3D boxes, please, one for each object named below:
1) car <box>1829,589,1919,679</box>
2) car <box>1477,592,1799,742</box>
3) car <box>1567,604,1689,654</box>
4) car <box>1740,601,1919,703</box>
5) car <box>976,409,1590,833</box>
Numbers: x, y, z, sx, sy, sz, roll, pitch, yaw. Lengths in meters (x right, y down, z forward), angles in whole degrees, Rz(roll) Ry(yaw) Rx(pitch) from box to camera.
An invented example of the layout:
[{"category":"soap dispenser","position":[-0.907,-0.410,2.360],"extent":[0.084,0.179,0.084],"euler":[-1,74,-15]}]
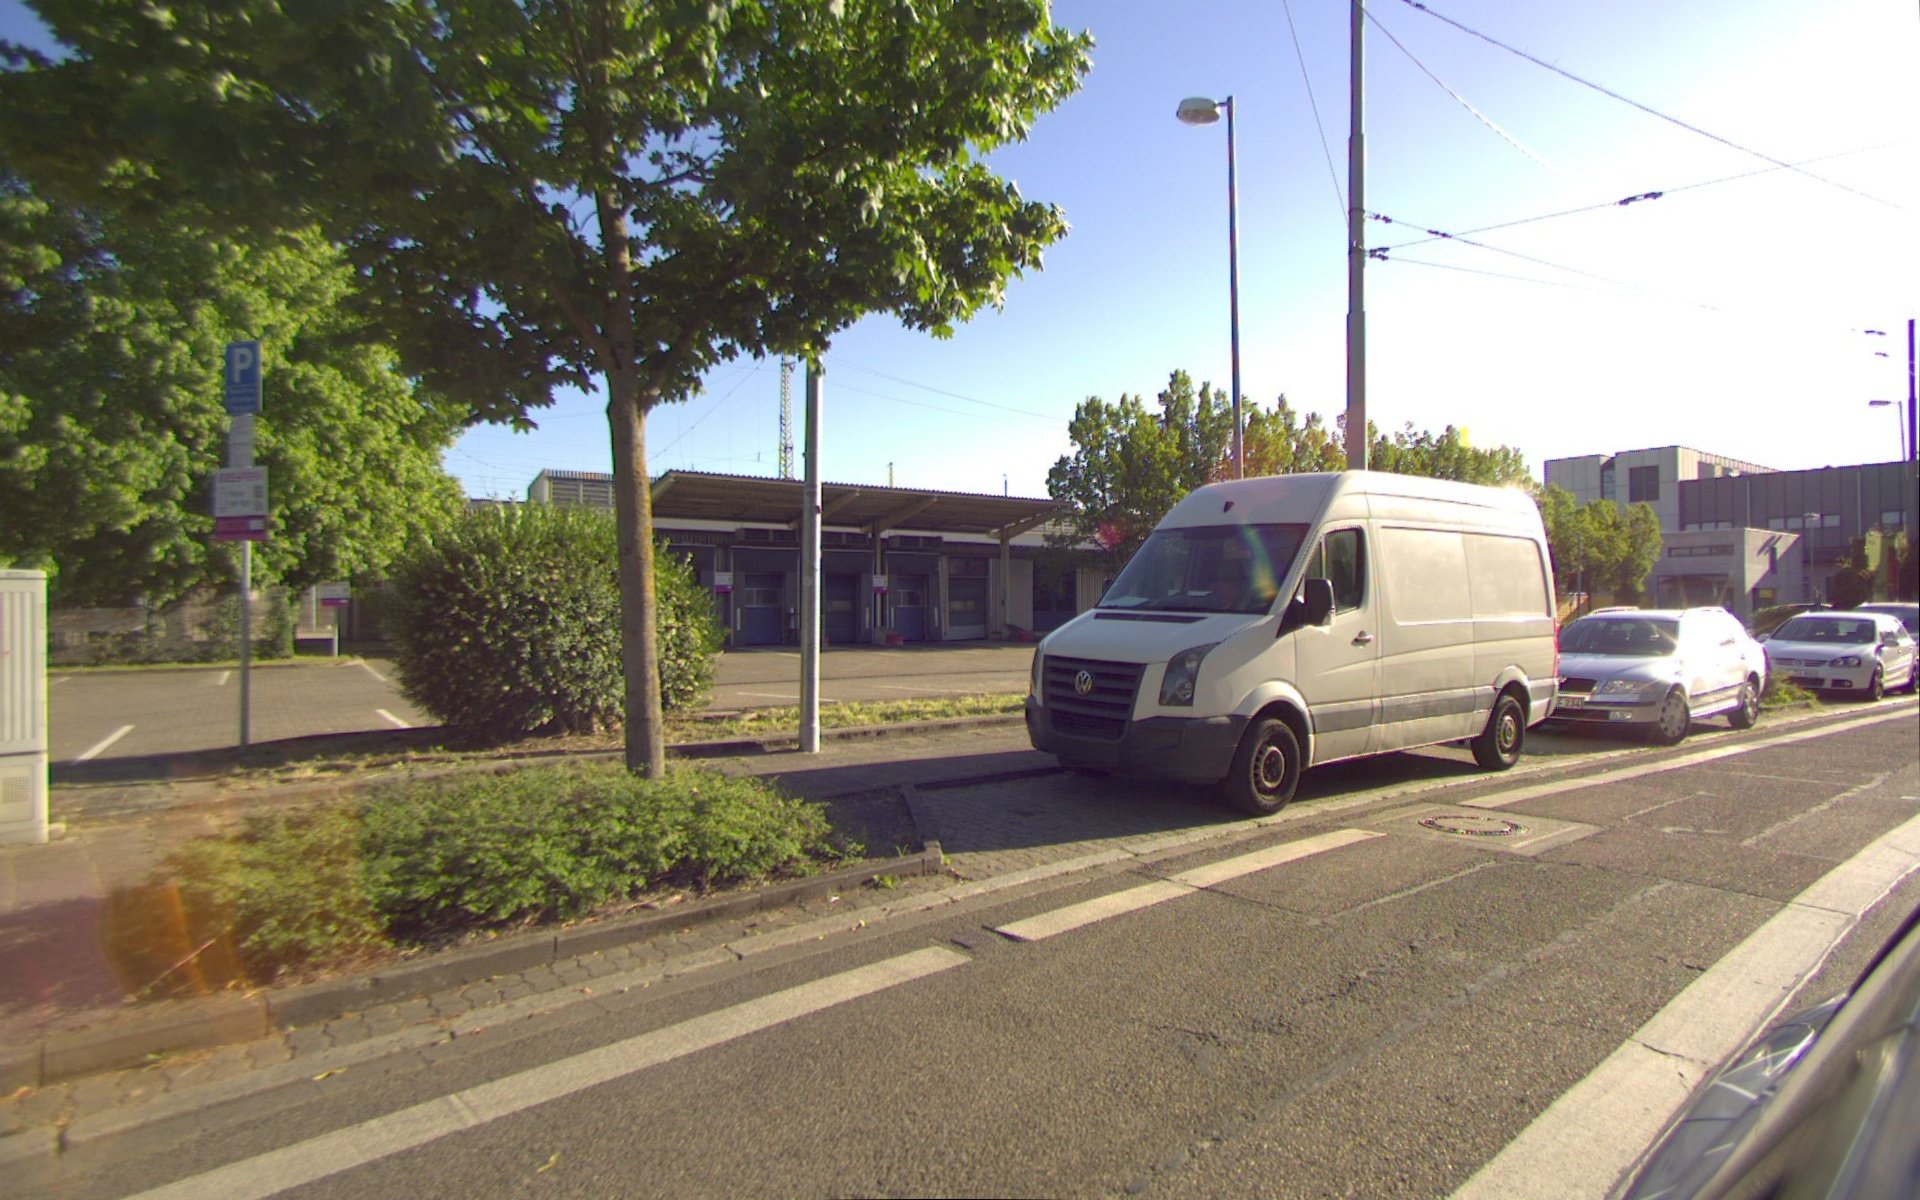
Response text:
[{"category":"car","position":[19.232,0.620,20.314],"extent":[4.260,1.624,1.734],"euler":[0,2,-36]},{"category":"car","position":[8.534,0.678,12.610],"extent":[4.514,1.549,1.916],"euler":[0,0,-36]},{"category":"car","position":[15.078,0.633,22.814],"extent":[2.999,1.046,1.312],"euler":[0,-1,-36]},{"category":"car","position":[15.492,0.808,17.743],"extent":[4.171,1.531,1.734],"euler":[0,1,-35]},{"category":"car","position":[3.185,0.088,9.123],"extent":[5.978,2.699,2.187],"euler":[0,2,-37]}]
